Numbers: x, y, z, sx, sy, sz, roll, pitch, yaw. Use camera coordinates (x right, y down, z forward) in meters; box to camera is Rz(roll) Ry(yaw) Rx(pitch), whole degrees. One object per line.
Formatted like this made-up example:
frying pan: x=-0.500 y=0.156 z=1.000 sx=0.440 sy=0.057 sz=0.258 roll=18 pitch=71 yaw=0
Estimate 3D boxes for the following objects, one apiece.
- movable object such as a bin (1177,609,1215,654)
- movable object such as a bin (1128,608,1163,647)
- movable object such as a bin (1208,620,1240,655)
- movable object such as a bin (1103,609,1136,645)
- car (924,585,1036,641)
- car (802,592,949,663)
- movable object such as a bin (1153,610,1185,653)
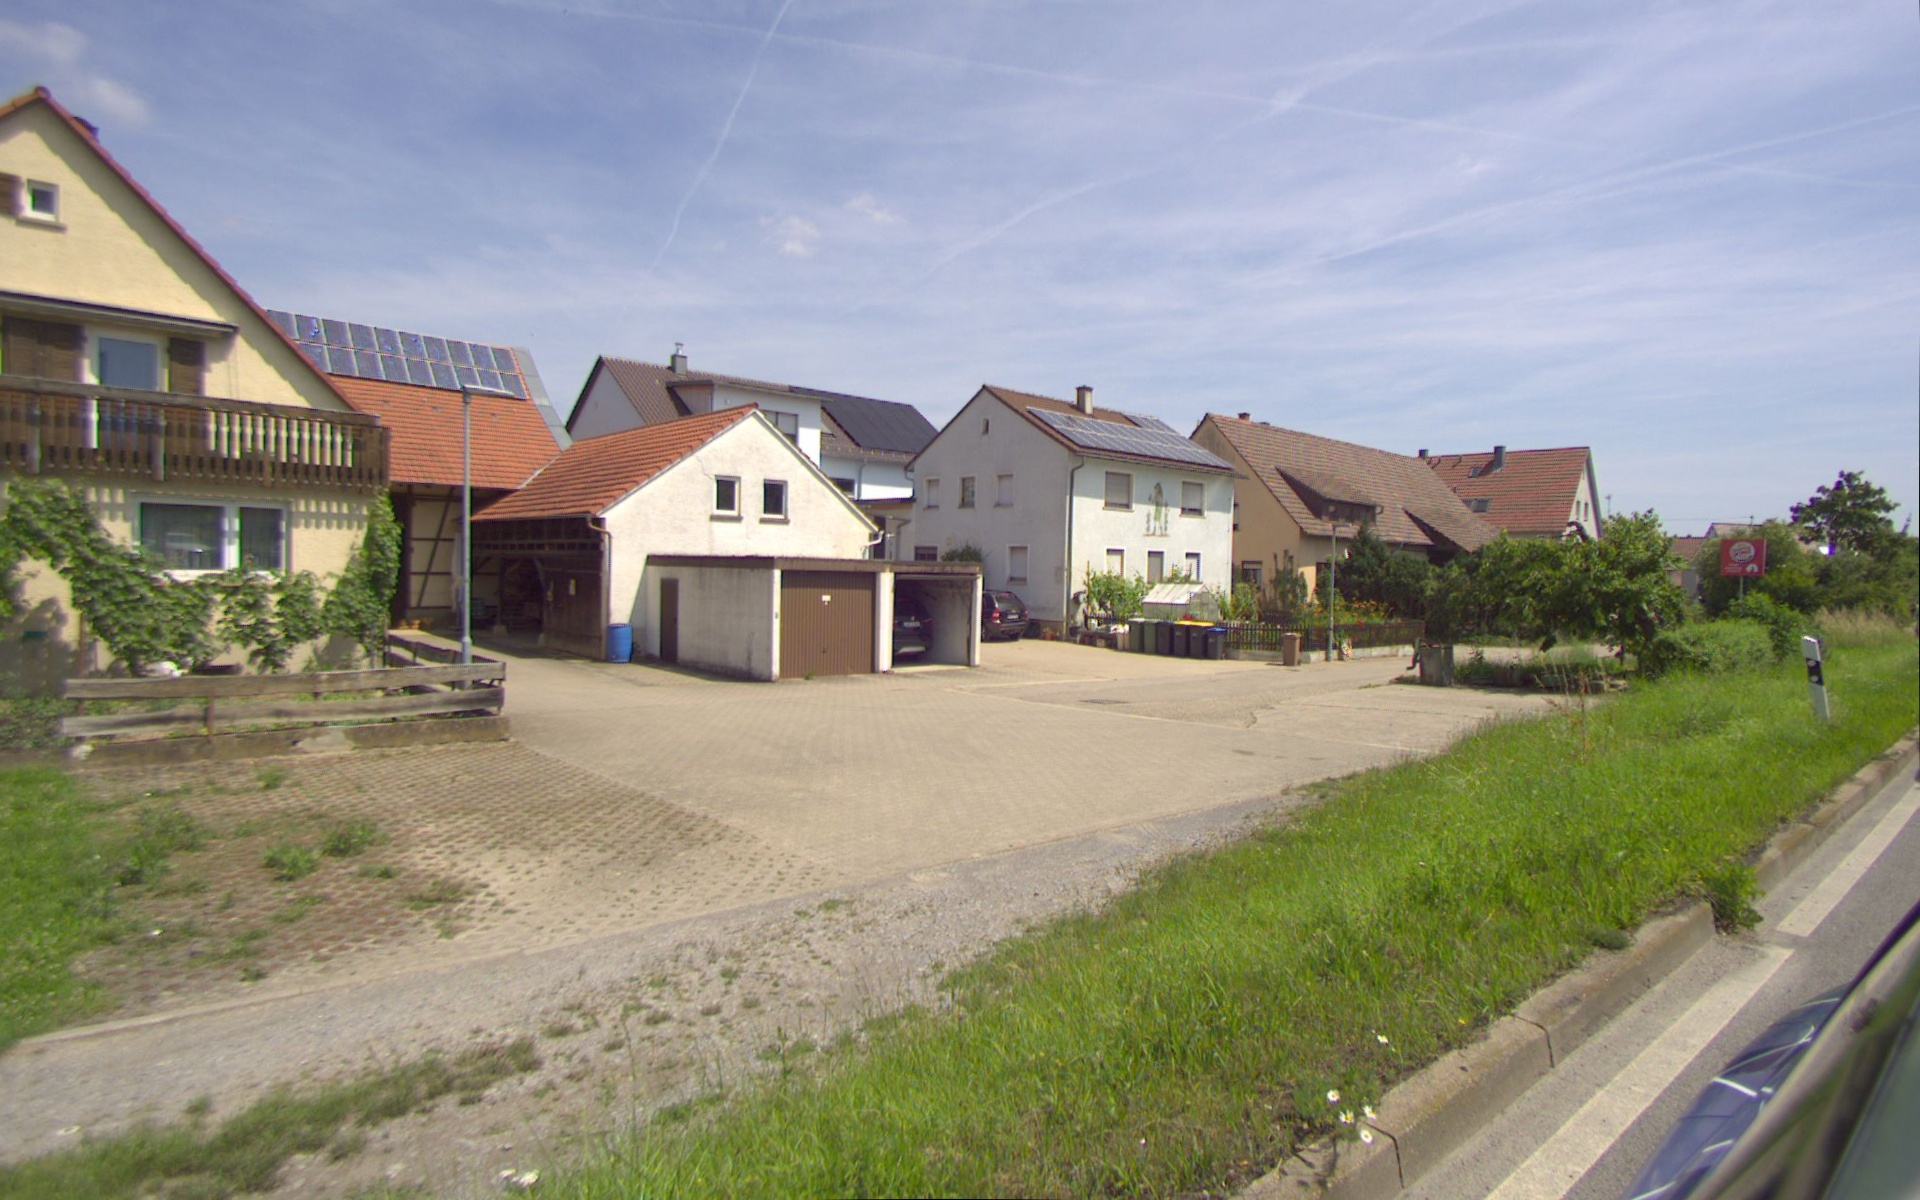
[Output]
movable object such as a bin: x=7.379 y=0.977 z=31.672 sx=0.930 sy=1.388 sz=0.764 roll=1 pitch=-1 yaw=-41
movable object such as a bin: x=6.154 y=0.897 z=33.595 sx=0.874 sy=1.262 sz=0.744 roll=1 pitch=-1 yaw=-41
movable object such as a bin: x=8.082 y=1.145 z=30.952 sx=0.743 sy=1.040 sz=0.645 roll=0 pitch=-1 yaw=-41
movable object such as a bin: x=5.379 y=0.899 z=34.145 sx=0.815 sy=1.171 sz=0.740 roll=1 pitch=-1 yaw=-41
car: x=0.648 y=0.398 z=36.051 sx=1.796 sy=1.755 sz=3.996 roll=-1 pitch=3 yaw=-40
car: x=-2.217 y=0.630 z=25.711 sx=1.793 sy=1.624 sz=3.996 roll=0 pitch=0 yaw=-39
movable object such as a bin: x=6.786 y=1.016 z=32.928 sx=0.806 sy=1.355 sz=0.678 roll=1 pitch=-1 yaw=-41
